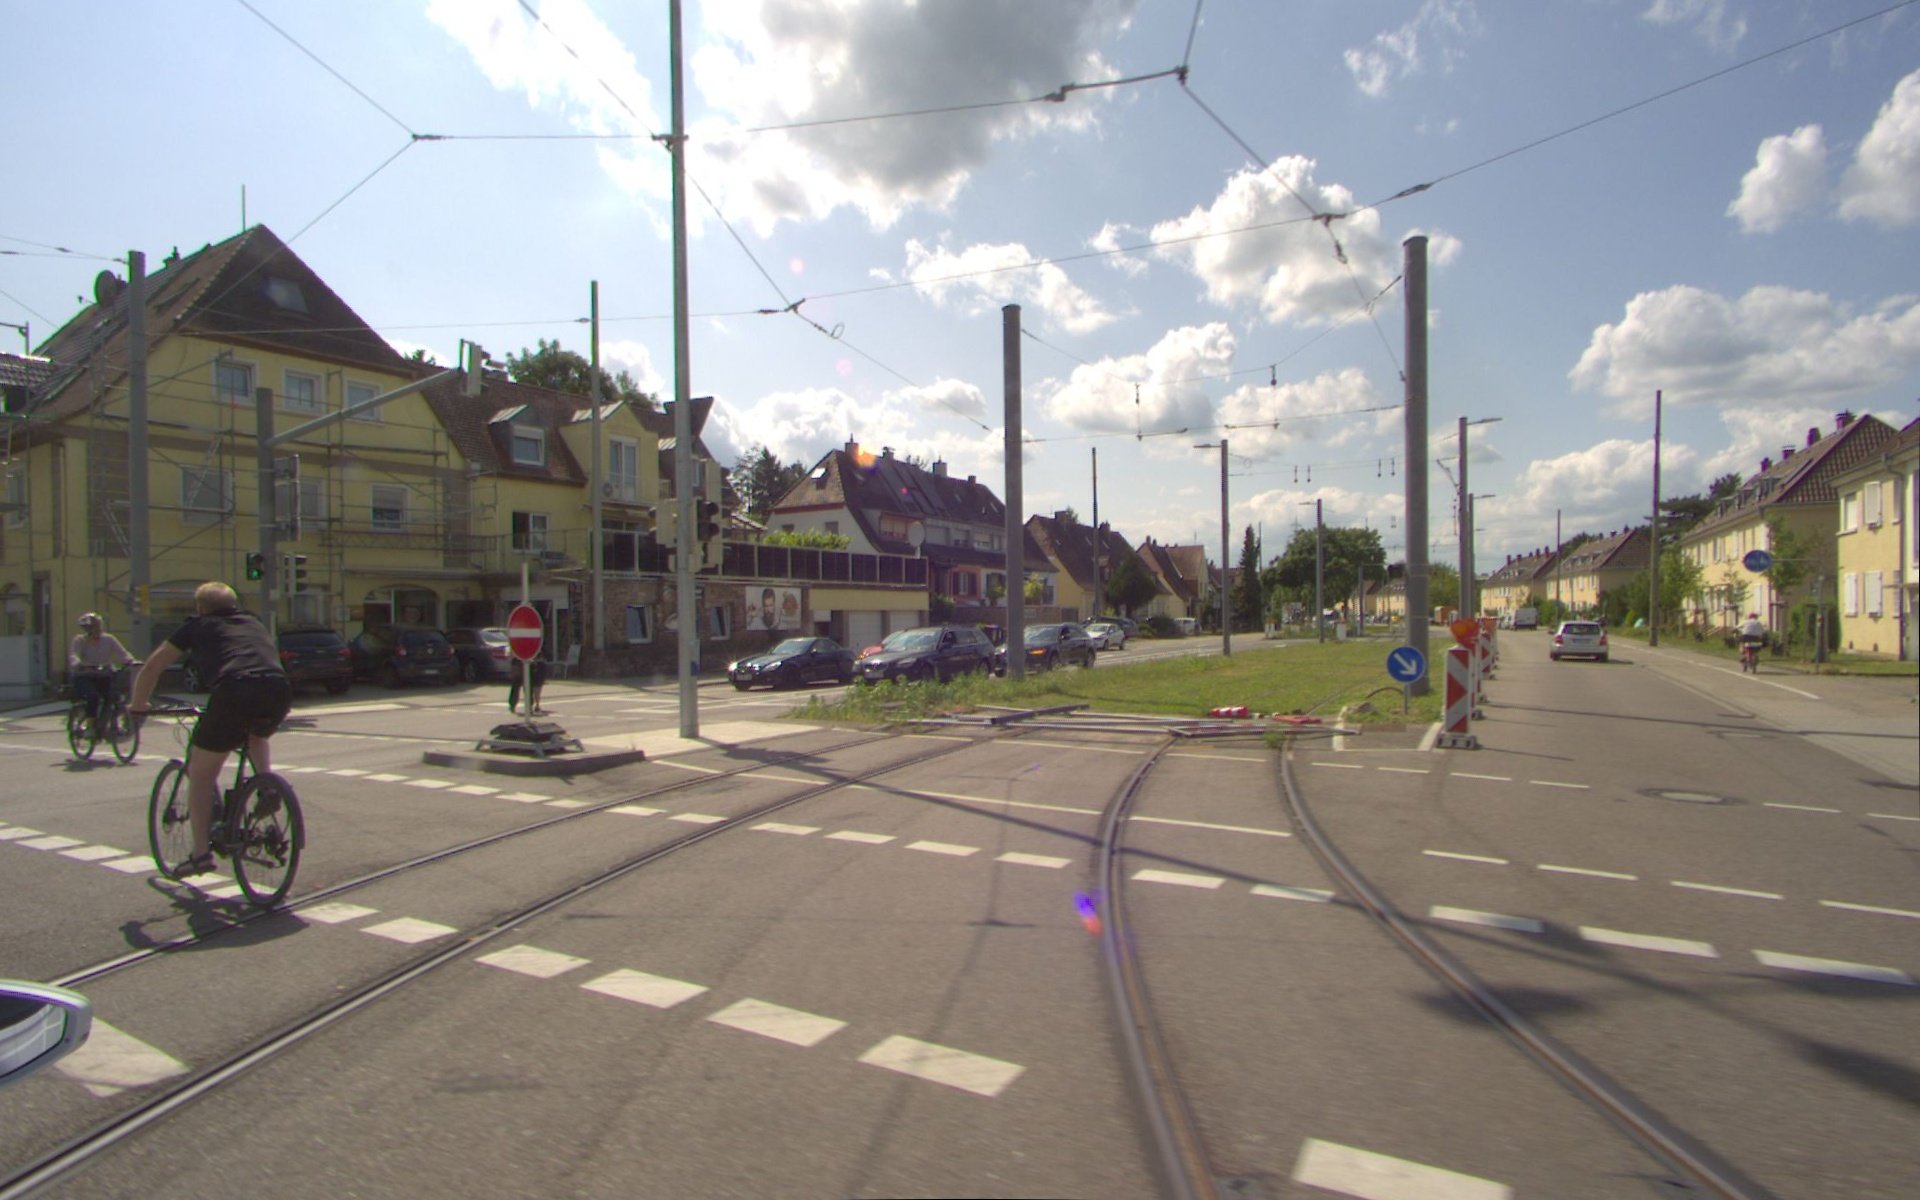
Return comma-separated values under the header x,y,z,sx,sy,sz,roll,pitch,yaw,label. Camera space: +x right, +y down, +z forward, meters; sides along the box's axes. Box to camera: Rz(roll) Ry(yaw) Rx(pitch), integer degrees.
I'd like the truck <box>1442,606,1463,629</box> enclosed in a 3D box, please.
x,y,z,sx,sy,sz,roll,pitch,yaw,label
74.274,2.708,150.945,1.964,3.266,5.331,-1,-3,17,truck

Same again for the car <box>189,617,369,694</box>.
x,y,z,sx,sy,sz,roll,pitch,yaw,label
-15.648,1.277,22.974,4.074,1.616,1.990,-2,-3,33,car

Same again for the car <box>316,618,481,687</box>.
x,y,z,sx,sy,sz,roll,pitch,yaw,label
-14.301,1.334,25.461,4.074,1.616,1.990,-2,-3,33,car

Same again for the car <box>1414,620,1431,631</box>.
x,y,z,sx,sy,sz,roll,pitch,yaw,label
80.282,4.459,173.910,1.963,1.745,3.999,-1,-3,14,car

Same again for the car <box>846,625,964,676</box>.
x,y,z,sx,sy,sz,roll,pitch,yaw,label
-1.663,1.597,31.666,1.714,1.492,4.313,-2,-3,29,car

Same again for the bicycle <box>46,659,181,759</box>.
x,y,z,sx,sy,sz,roll,pitch,yaw,label
-10.237,1.285,12.107,1.563,1.131,0.650,-2,-2,26,bicycle

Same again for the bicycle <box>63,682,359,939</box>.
x,y,z,sx,sy,sz,roll,pitch,yaw,label
-4.288,1.080,5.687,1.946,1.090,0.825,-1,1,37,bicycle

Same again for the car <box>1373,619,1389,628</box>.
x,y,z,sx,sy,sz,roll,pitch,yaw,label
86.215,4.775,205.282,1.961,1.745,4.002,-1,-3,7,car

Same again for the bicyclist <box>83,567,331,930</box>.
x,y,z,sx,sy,sz,roll,pitch,yaw,label
-4.248,0.745,5.651,1.070,1.818,0.825,0,1,37,bicyclist

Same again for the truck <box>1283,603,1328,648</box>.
x,y,z,sx,sy,sz,roll,pitch,yaw,label
31.249,2.429,90.354,2.473,3.873,7.613,-1,-3,29,truck

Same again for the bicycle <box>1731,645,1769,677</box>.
x,y,z,sx,sy,sz,roll,pitch,yaw,label
21.233,1.620,26.943,0.497,0.791,1.578,-1,-1,27,bicycle

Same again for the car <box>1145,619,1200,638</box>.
x,y,z,sx,sy,sz,roll,pitch,yaw,label
18.105,2.449,85.220,4.258,1.492,1.949,-2,-3,24,car

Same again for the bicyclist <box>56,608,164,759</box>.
x,y,z,sx,sy,sz,roll,pitch,yaw,label
-10.322,0.994,12.167,0.968,1.759,0.650,-1,-2,26,bicyclist

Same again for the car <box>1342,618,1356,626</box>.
x,y,z,sx,sy,sz,roll,pitch,yaw,label
89.949,5.062,231.539,1.962,1.745,4.002,-1,-3,8,car

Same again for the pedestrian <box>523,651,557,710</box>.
x,y,z,sx,sy,sz,roll,pitch,yaw,label
-8.246,1.574,19.676,0.383,1.150,0.487,-2,-2,33,pedestrian

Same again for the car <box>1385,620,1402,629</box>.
x,y,z,sx,sy,sz,roll,pitch,yaw,label
85.457,4.873,197.391,1.961,1.745,4.002,-1,-3,6,car

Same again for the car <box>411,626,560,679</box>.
x,y,z,sx,sy,sz,roll,pitch,yaw,label
-13.087,1.446,27.586,4.074,1.368,1.864,-2,-3,33,car

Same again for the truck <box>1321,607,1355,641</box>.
x,y,z,sx,sy,sz,roll,pitch,yaw,label
42.639,2.751,112.905,2.345,3.581,8.499,-1,-3,29,truck

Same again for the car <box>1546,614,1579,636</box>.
x,y,z,sx,sy,sz,roll,pitch,yaw,label
51.041,2.168,84.922,1.968,1.745,3.989,-1,-3,25,car

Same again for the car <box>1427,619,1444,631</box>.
x,y,z,sx,sy,sz,roll,pitch,yaw,label
75.471,4.031,159.050,1.964,1.745,3.996,-1,-3,18,car

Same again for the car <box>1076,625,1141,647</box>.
x,y,z,sx,sy,sz,roll,pitch,yaw,label
10.530,2.557,71.243,4.259,1.492,1.735,-2,-3,25,car

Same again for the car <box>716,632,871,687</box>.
x,y,z,sx,sy,sz,roll,pitch,yaw,label
-4.253,1.547,26.304,1.714,1.324,4.313,-2,-3,29,car

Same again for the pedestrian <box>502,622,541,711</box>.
x,y,z,sx,sy,sz,roll,pitch,yaw,label
-8.362,1.256,19.111,0.396,1.664,0.545,-2,-2,37,pedestrian

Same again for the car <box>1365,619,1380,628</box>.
x,y,z,sx,sy,sz,roll,pitch,yaw,label
86.599,4.989,210.280,1.962,1.745,4.002,-1,-3,8,car

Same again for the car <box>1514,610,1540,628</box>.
x,y,z,sx,sy,sz,roll,pitch,yaw,label
57.156,1.946,101.015,1.968,1.745,3.989,-1,-3,25,car

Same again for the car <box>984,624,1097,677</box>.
x,y,z,sx,sy,sz,roll,pitch,yaw,label
2.481,1.456,29.769,1.714,1.346,4.310,-2,-1,29,car

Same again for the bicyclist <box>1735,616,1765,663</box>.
x,y,z,sx,sy,sz,roll,pitch,yaw,label
21.215,1.051,26.894,0.501,1.250,0.576,-1,-1,28,bicyclist

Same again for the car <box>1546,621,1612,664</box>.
x,y,z,sx,sy,sz,roll,pitch,yaw,label
22.030,1.479,35.736,1.708,1.422,4.001,0,-1,28,car

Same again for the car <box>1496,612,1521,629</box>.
x,y,z,sx,sy,sz,roll,pitch,yaw,label
60.347,2.228,110.208,1.967,1.745,3.992,-1,-3,23,car

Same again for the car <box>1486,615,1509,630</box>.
x,y,z,sx,sy,sz,roll,pitch,yaw,label
64.681,2.732,120.574,1.967,1.745,3.992,-1,-3,23,car

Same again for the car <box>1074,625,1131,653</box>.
x,y,z,sx,sy,sz,roll,pitch,yaw,label
7.981,2.200,55.664,1.714,1.492,4.313,-2,-3,29,car

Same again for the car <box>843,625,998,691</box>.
x,y,z,sx,sy,sz,roll,pitch,yaw,label
-0.842,1.336,24.151,1.714,1.346,4.310,-2,-1,29,car
